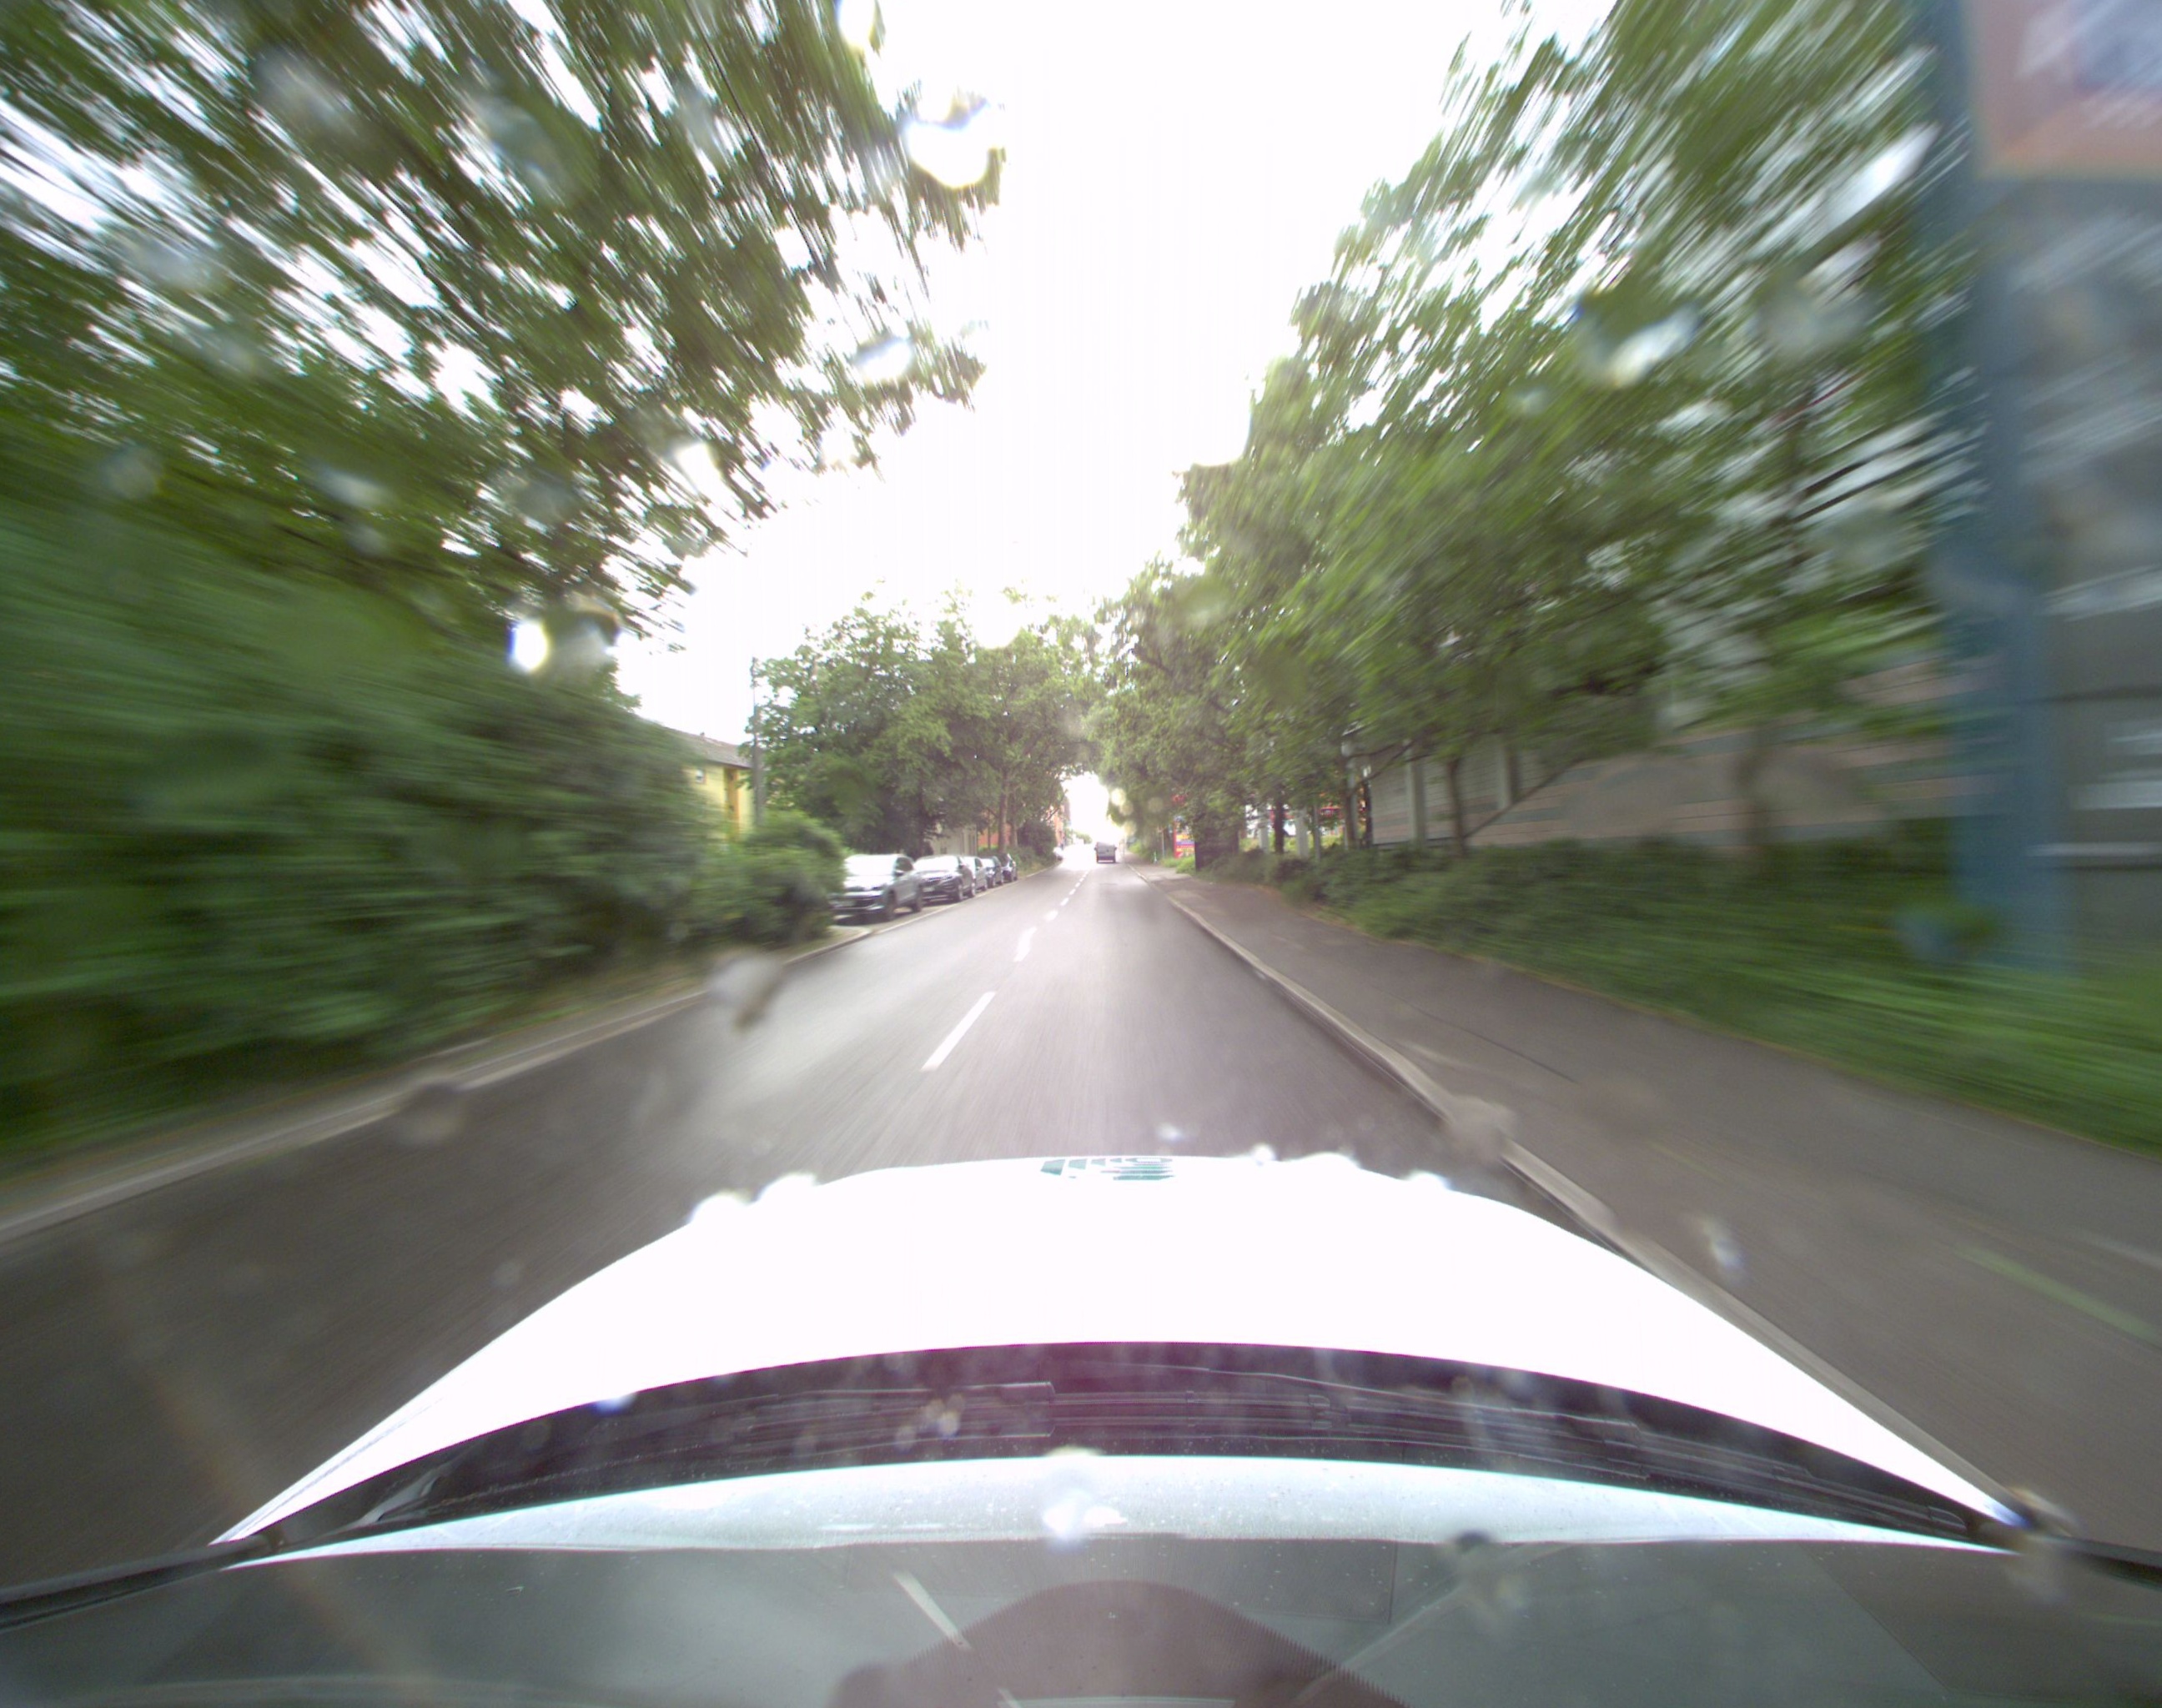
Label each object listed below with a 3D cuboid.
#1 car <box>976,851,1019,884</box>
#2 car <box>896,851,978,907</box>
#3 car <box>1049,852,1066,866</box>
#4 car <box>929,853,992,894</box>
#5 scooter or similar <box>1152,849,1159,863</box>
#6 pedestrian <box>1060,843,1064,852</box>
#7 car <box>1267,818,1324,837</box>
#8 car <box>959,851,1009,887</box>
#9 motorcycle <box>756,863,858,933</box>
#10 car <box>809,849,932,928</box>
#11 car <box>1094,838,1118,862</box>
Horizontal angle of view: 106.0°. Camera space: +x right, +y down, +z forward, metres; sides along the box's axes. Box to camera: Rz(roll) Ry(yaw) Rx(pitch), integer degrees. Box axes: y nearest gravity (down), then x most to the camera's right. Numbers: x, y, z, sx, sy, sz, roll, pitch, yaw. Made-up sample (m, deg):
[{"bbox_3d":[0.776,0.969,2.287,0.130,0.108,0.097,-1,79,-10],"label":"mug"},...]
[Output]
[{"bbox_3d":[-4.367,0.670,43.319,1.642,1.537,4.019,-6,0,1],"label":"car"},{"bbox_3d":[-4.712,0.774,27.284,1.859,1.591,4.239,-4,0,0],"label":"car"},{"bbox_3d":[-2.811,0.589,97.905,1.684,1.542,4.119,-3,0,2],"label":"car"},{"bbox_3d":[-4.757,0.717,32.708,1.665,1.508,4.127,-1,0,3],"label":"car"},{"bbox_3d":[6.224,0.203,68.238,0.424,1.142,1.528,0,-2,0],"label":"scooter or similar"},{"bbox_3d":[-4.390,-1.548,188.886,0.668,2.013,0.943,-2,0,6],"label":"pedestrian"},{"bbox_3d":[17.016,-2.109,64.707,4.085,1.376,1.904,-1,0,1],"label":"car"},{"bbox_3d":[-4.446,0.670,37.696,1.665,1.508,3.876,-2,0,2],"label":"car"},{"bbox_3d":[-5.949,0.935,17.725,1.833,1.315,0.783,-5,0,1],"label":"motorcycle"},{"bbox_3d":[-5.410,0.801,21.597,1.727,1.657,4.568,-6,1,3],"label":"car"},{"bbox_3d":[2.618,-0.390,83.759,2.327,2.231,4.002,-3,-1,2],"label":"car"}]
